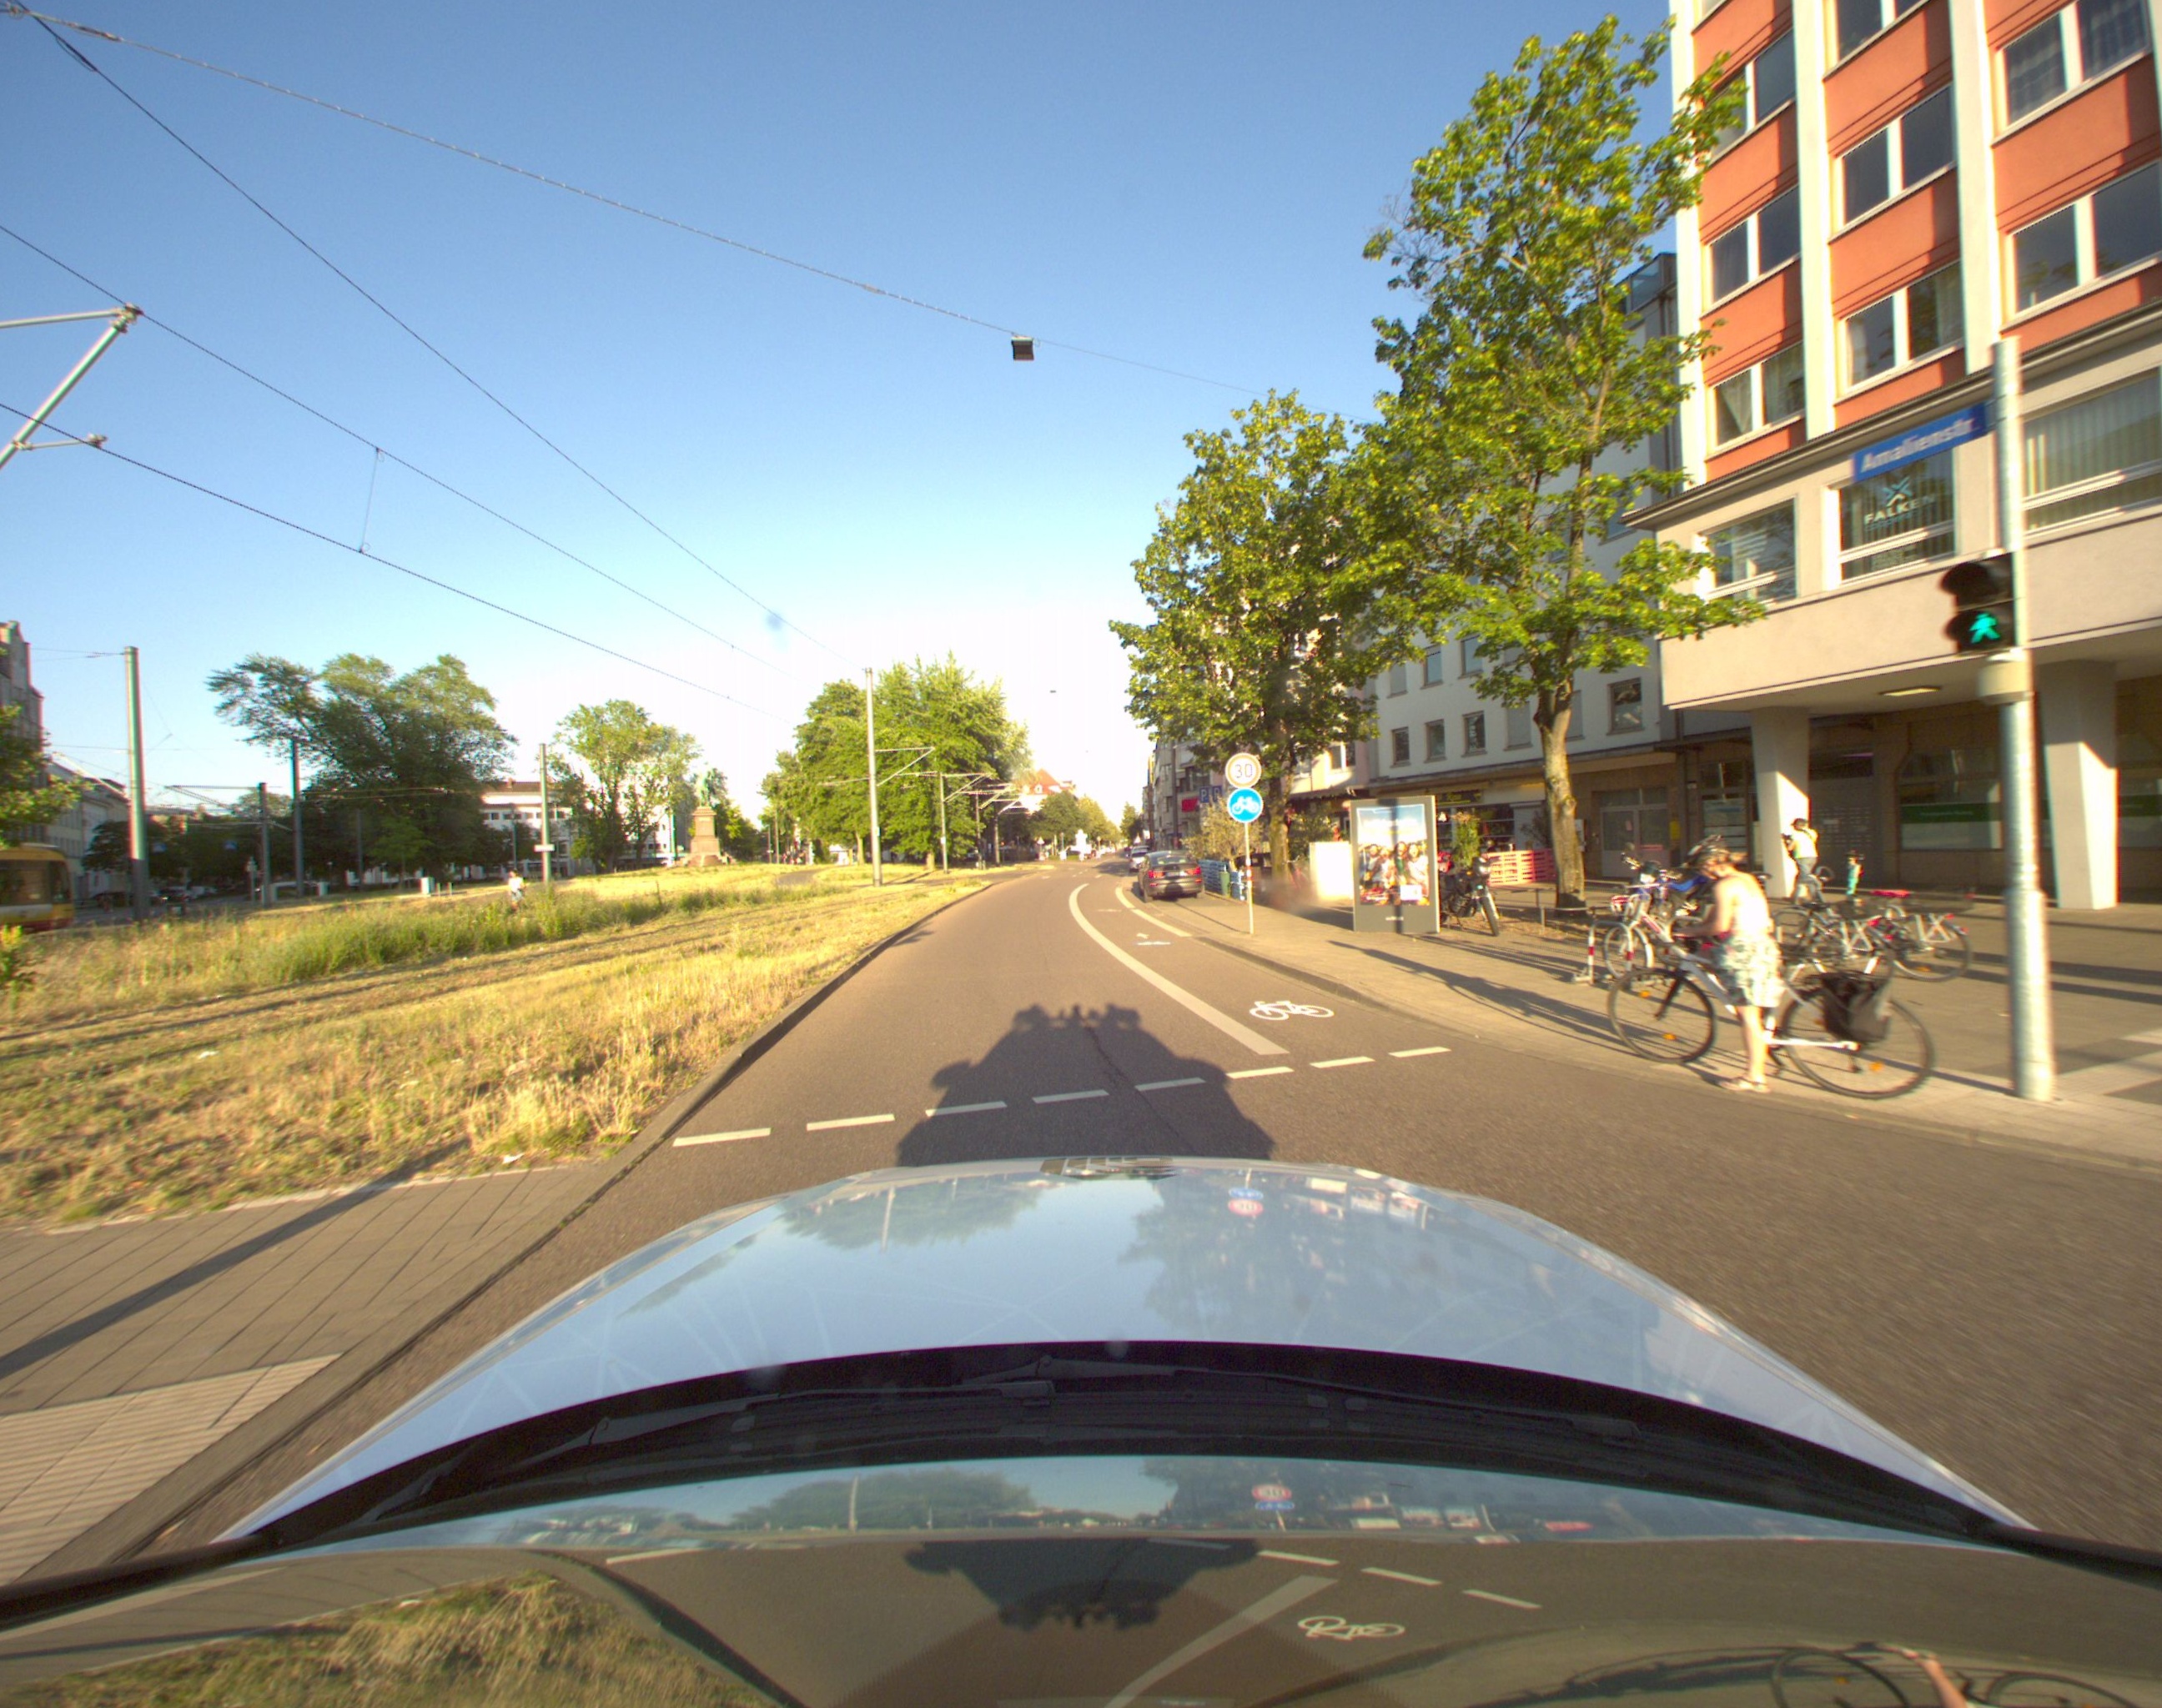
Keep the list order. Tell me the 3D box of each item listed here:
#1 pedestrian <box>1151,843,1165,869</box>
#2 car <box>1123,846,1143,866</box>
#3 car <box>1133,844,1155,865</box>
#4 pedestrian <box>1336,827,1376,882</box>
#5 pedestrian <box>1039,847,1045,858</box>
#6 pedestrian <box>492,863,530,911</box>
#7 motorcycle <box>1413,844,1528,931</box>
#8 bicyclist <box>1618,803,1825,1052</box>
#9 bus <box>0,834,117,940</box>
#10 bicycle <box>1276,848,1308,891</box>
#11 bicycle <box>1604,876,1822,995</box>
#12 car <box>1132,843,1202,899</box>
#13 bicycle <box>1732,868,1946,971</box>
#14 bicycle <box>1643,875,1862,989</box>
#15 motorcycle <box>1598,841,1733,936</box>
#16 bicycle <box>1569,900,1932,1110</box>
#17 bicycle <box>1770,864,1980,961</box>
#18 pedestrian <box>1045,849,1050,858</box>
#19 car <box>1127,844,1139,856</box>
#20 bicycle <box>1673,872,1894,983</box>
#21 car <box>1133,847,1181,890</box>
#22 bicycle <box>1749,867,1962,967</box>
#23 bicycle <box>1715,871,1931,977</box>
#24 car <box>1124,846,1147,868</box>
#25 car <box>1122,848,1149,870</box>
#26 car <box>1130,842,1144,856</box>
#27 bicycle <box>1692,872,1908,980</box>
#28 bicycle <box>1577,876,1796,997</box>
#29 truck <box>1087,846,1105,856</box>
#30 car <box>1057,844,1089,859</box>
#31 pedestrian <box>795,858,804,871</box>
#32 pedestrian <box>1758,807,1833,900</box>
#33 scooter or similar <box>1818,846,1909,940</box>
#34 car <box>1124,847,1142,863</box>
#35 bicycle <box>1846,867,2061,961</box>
[{"bbox_3d":[5.387,0.109,57.000,0.641,1.786,0.851,-2,0,-20],"label":"pedestrian"},{"bbox_3d":[4.386,0.158,68.657,1.633,1.528,4.005,-1,1,4],"label":"car"},{"bbox_3d":[5.690,-0.007,73.967,1.777,1.804,4.403,-1,1,2],"label":"car"},{"bbox_3d":[9.007,0.007,26.645,0.896,1.725,0.767,-4,1,-28],"label":"pedestrian"},{"bbox_3d":[-5.496,-0.172,115.231,0.693,1.559,0.697,-1,0,11],"label":"pedestrian"},{"bbox_3d":[-18.179,1.048,25.987,0.668,1.459,0.699,-1,0,-1],"label":"pedestrian"},{"bbox_3d":[6.563,0.510,13.865,0.640,1.344,2.196,-2,1,-8],"label":"motorcycle"},{"bbox_3d":[4.216,0.427,5.386,0.800,1.480,0.799,-2,1,-27],"label":"bicyclist"},{"bbox_3d":[-35.629,1.104,23.708,3.764,3.362,13.611,-2,1,-22],"label":"bus"},{"bbox_3d":[6.254,0.426,24.225,0.444,1.210,2.084,-1,1,2],"label":"bicycle"},{"bbox_3d":[6.386,0.771,8.351,0.362,1.027,1.779,-2,1,-25],"label":"bicycle"},{"bbox_3d":[2.752,0.481,27.062,1.799,1.670,4.813,-1,1,0],"label":"car"},{"bbox_3d":[8.605,0.697,9.345,0.366,1.027,1.779,-2,1,-27],"label":"bicycle"},{"bbox_3d":[6.955,0.757,8.556,0.362,1.027,1.779,-2,1,-26],"label":"bicycle"},{"bbox_3d":[9.117,0.503,12.687,2.149,1.354,0.638,-2,1,-22],"label":"motorcycle"},{"bbox_3d":[4.245,0.876,5.347,0.517,1.027,1.779,-2,1,-27],"label":"bicycle"},{"bbox_3d":[9.439,0.648,9.773,0.366,1.027,1.779,-2,1,-27],"label":"bicycle"},{"bbox_3d":[-4.796,-0.079,115.207,0.559,1.364,0.616,-1,0,8],"label":"pedestrian"},{"bbox_3d":[8.203,-0.699,128.501,1.702,1.835,4.311,-1,1,4],"label":"car"},{"bbox_3d":[7.454,0.730,8.750,0.369,1.027,1.779,-2,1,-27],"label":"bicycle"},{"bbox_3d":[2.937,0.503,32.169,1.644,1.534,4.069,-1,1,2],"label":"car"},{"bbox_3d":[8.971,0.687,9.529,0.366,1.027,1.779,-2,1,-27],"label":"bicycle"},{"bbox_3d":[8.233,0.728,9.143,0.362,1.027,1.779,-2,1,-26],"label":"bicycle"},{"bbox_3d":[4.159,0.238,62.420,1.578,1.590,3.670,-1,1,2],"label":"car"},{"bbox_3d":[3.886,0.342,57.424,1.776,1.456,4.006,-3,0,5],"label":"car"},{"bbox_3d":[7.595,-0.700,110.502,1.785,1.791,4.096,-2,0,4],"label":"car"},{"bbox_3d":[7.830,0.734,8.977,0.362,1.027,1.779,-2,1,-26],"label":"bicycle"},{"bbox_3d":[5.973,0.761,8.161,0.362,1.027,1.779,-2,1,-26],"label":"bicycle"},{"bbox_3d":[4.161,-0.923,224.652,4.921,2.615,2.001,-2,0,2],"label":"truck"},{"bbox_3d":[-1.245,-0.440,128.160,4.619,2.251,2.186,-1,0,-24],"label":"car"},{"bbox_3d":[-41.150,1.517,118.929,0.857,1.839,0.997,-1,2,3],"label":"pedestrian"},{"bbox_3d":[13.821,-0.018,15.775,0.656,1.724,0.871,-2,0,-22],"label":"pedestrian"},{"bbox_3d":[11.429,0.532,11.937,0.306,1.263,1.533,-1,1,18],"label":"scooter or similar"},{"bbox_3d":[5.259,0.047,82.095,1.782,1.507,3.926,-1,1,4],"label":"car"},{"bbox_3d":[10.689,0.691,10.064,0.366,1.027,1.779,-2,1,-27],"label":"bicycle"}]
